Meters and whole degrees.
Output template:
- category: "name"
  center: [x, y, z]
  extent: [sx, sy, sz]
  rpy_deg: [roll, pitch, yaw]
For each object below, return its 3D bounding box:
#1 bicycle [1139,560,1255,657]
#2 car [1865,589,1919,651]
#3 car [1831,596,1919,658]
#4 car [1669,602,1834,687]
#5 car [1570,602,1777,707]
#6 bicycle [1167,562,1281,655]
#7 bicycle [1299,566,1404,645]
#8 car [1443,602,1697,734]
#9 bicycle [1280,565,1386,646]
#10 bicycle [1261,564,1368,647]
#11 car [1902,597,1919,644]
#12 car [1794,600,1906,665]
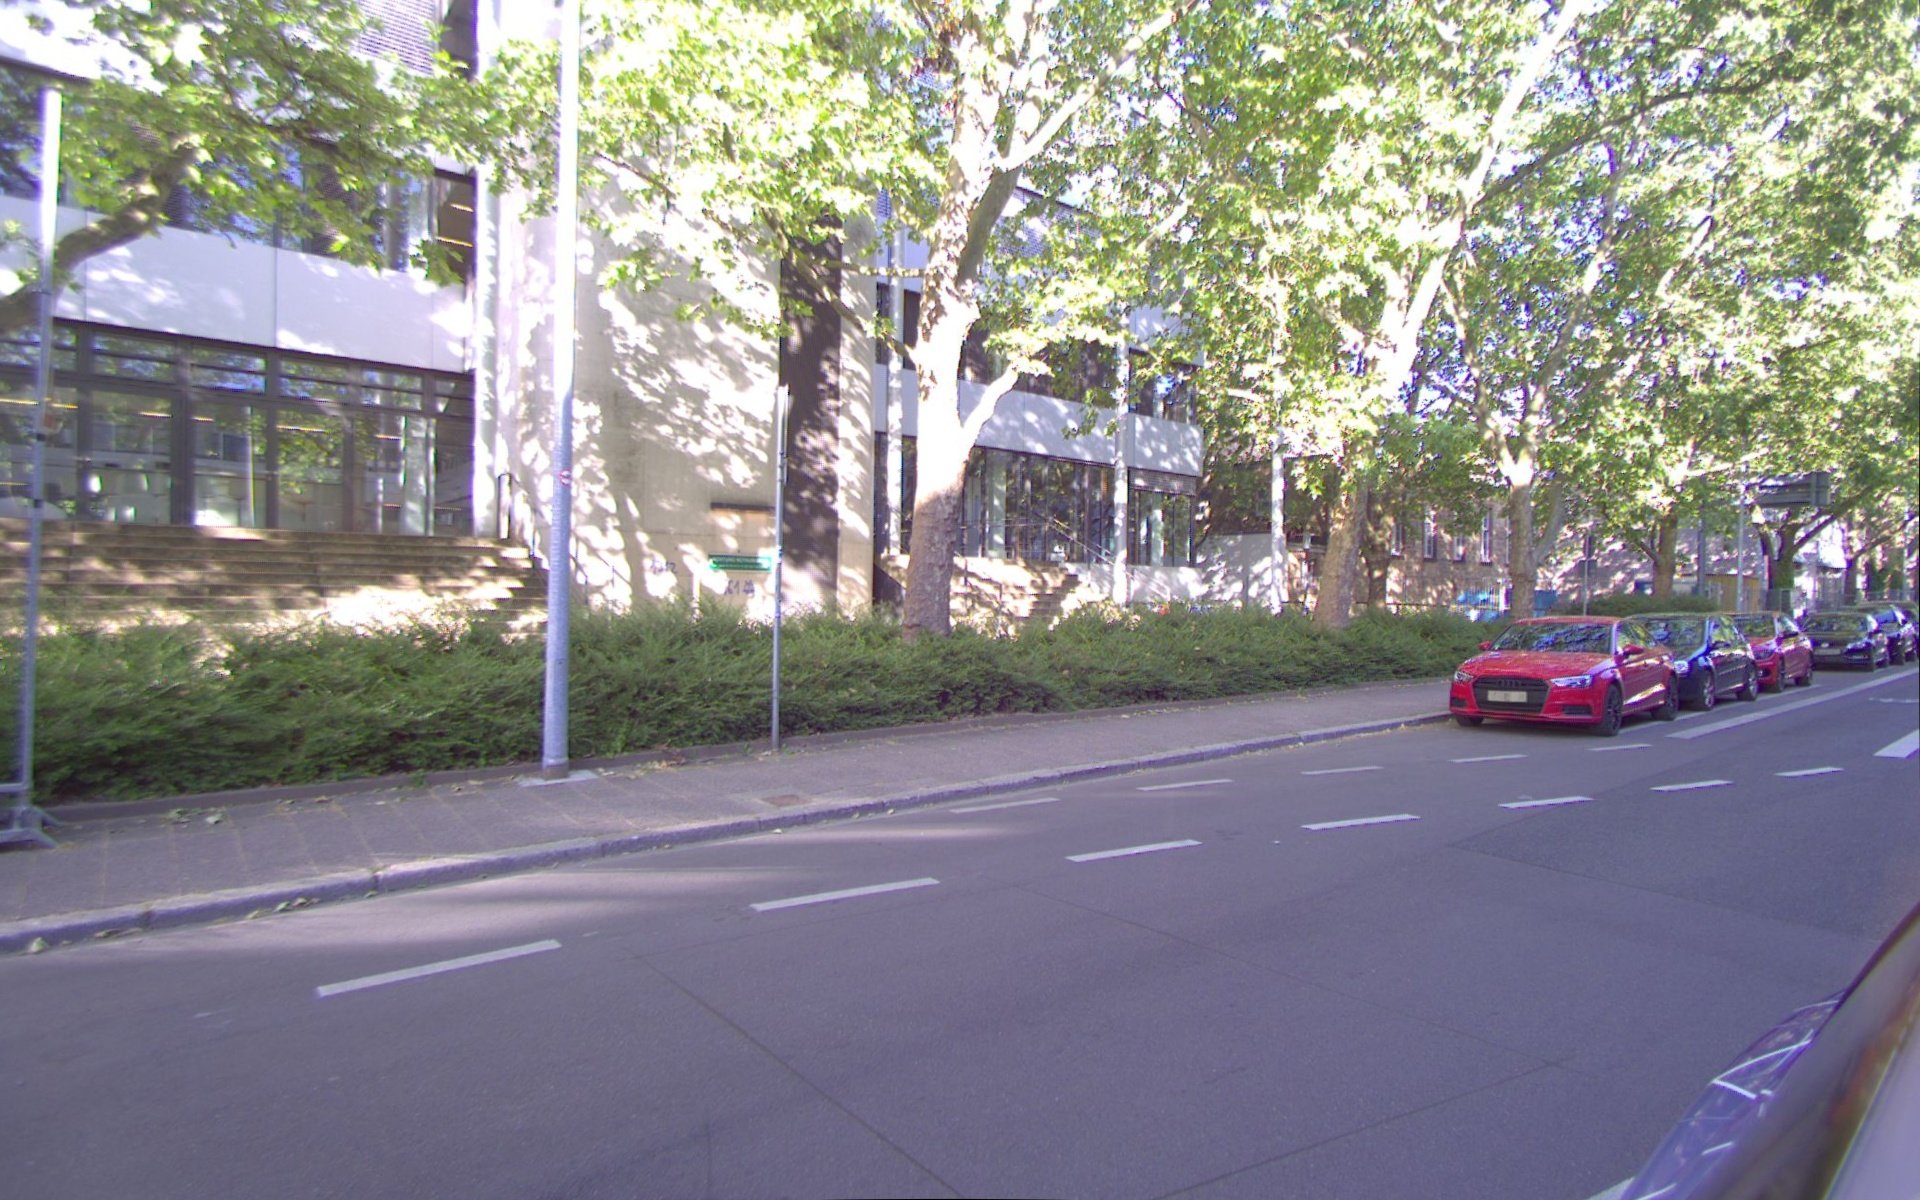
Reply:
- category: "bicycle"
  center: [5.252, 0.160, 22.628]
  extent: [0.729, 2.039, 2.603]
  rpy_deg: [1, 0, -40]
- category: "car"
  center: [30.656, 0.626, 32.843]
  extent: [1.823, 1.865, 4.826]
  rpy_deg: [-2, -2, 41]
- category: "car"
  center: [26.546, 0.737, 29.021]
  extent: [4.541, 1.649, 1.778]
  rpy_deg: [0, -2, -42]
- category: "car"
  center: [15.554, 0.807, 19.809]
  extent: [4.242, 1.498, 1.696]
  rpy_deg: [0, -2, -40]
- category: "car"
  center: [11.550, 0.799, 16.293]
  extent: [3.992, 1.485, 1.696]
  rpy_deg: [0, -2, -39]
- category: "bicycle"
  center: [6.077, 0.153, 23.430]
  extent: [0.729, 2.039, 2.603]
  rpy_deg: [1, 0, -40]
- category: "bicycle"
  center: [10.494, 0.110, 27.236]
  extent: [0.729, 2.039, 2.603]
  rpy_deg: [1, 0, -40]
- category: "car"
  center: [8.156, 0.777, 13.355]
  extent: [4.360, 1.468, 1.694]
  rpy_deg: [0, -2, -43]
- category: "bicycle"
  center: [9.781, 0.117, 26.666]
  extent: [0.729, 2.039, 2.603]
  rpy_deg: [1, 0, -40]
- category: "bicycle"
  center: [9.104, 0.123, 26.096]
  extent: [0.729, 2.039, 2.603]
  rpy_deg: [1, 0, -40]
- category: "car"
  center: [35.722, 0.730, 36.860]
  extent: [4.256, 1.649, 1.694]
  rpy_deg: [0, -2, -43]
- category: "car"
  center: [22.631, 0.792, 25.687]
  extent: [3.952, 1.523, 1.694]
  rpy_deg: [0, -2, -43]
